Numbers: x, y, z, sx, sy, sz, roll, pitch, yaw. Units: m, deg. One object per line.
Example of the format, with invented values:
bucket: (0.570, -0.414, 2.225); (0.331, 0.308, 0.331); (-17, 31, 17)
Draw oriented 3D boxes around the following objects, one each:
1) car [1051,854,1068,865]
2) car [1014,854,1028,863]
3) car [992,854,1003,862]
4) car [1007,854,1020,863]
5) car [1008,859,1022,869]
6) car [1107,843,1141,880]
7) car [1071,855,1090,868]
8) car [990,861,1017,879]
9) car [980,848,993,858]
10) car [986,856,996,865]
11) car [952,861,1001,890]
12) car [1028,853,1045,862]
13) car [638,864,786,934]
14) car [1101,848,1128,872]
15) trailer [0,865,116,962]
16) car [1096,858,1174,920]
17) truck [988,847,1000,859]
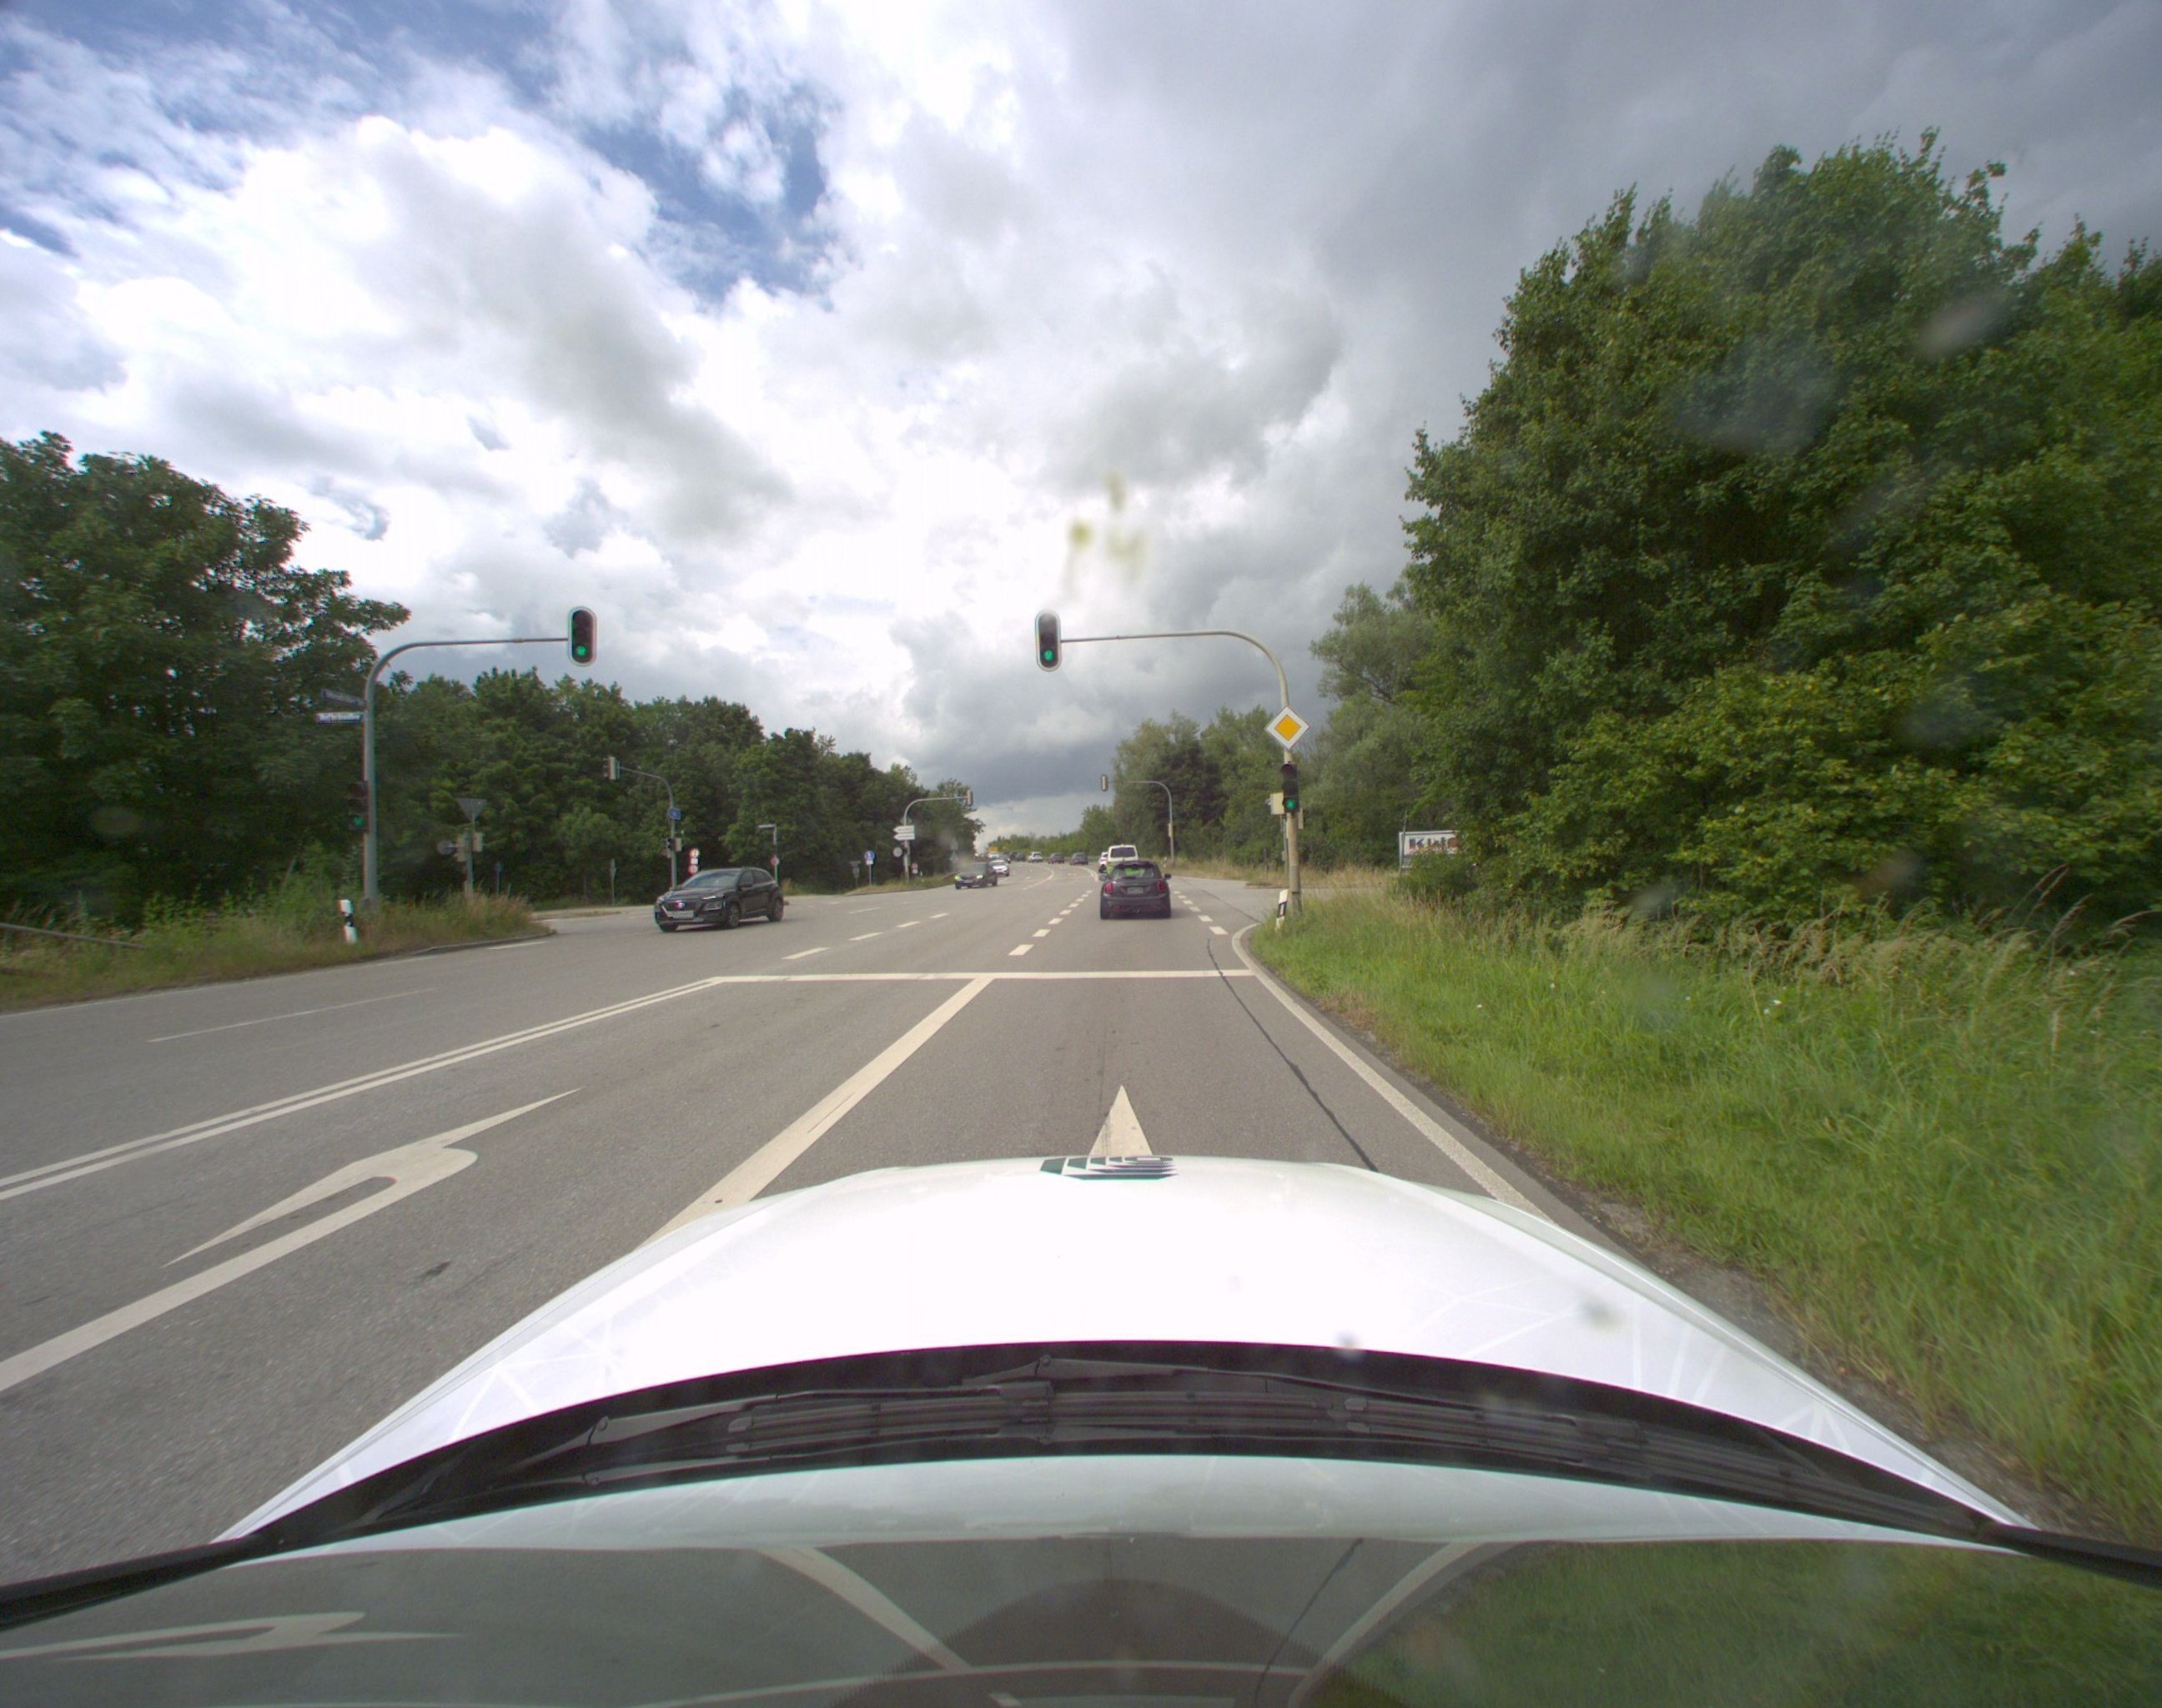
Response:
car: (-3.074, 0.801, 115.238); (1.992, 1.476, 4.473); (-1, -1, -8)
car: (-11.020, 0.832, 149.030); (1.995, 1.696, 4.467); (-1, -1, -12)
car: (-20.716, 1.077, 201.681); (1.996, 1.787, 4.464); (-1, -1, -14)
car: (-13.535, 0.865, 163.369); (1.995, 1.696, 4.467); (-1, -1, -12)
car: (-10.647, 1.607, 130.698); (1.733, 1.405, 4.250); (-8, 0, 0)
car: (2.505, 0.386, 47.749); (1.837, 1.986, 3.844); (-1, 1, 2)
car: (-0.099, 0.947, 97.630); (1.989, 1.476, 4.480); (-1, -1, -3)
car: (-7.053, 1.437, 74.161); (1.722, 1.505, 4.350); (-2, 0, 3)
car: (-16.428, -0.211, 141.515); (1.993, 1.690, 3.987); (-2, 0, -9)
car: (-18.235, 1.280, 165.570); (1.991, 1.613, 3.992); (-2, 0, -6)
car: (-6.165, 1.250, 48.641); (1.779, 1.530, 4.911); (-4, -1, 6)
car: (-7.207, 0.575, 131.230); (1.994, 1.476, 4.468); (-1, -1, -11)
car: (-9.374, 1.083, 21.097); (1.784, 1.573, 4.003); (-2, -1, 3)
car: (2.523, 0.470, 61.958); (1.986, 1.684, 4.001); (-2, -1, 1)
trailer: (-39.558, 2.144, 26.842); (10.711, 3.037, 2.880); (-2, 0, -7)
car: (1.411, 0.844, 21.265); (1.837, 1.428, 3.845); (-1, 0, 4)
truck: (-23.399, -0.271, 217.946); (2.716, 2.898, 8.742); (-1, -2, -9)
